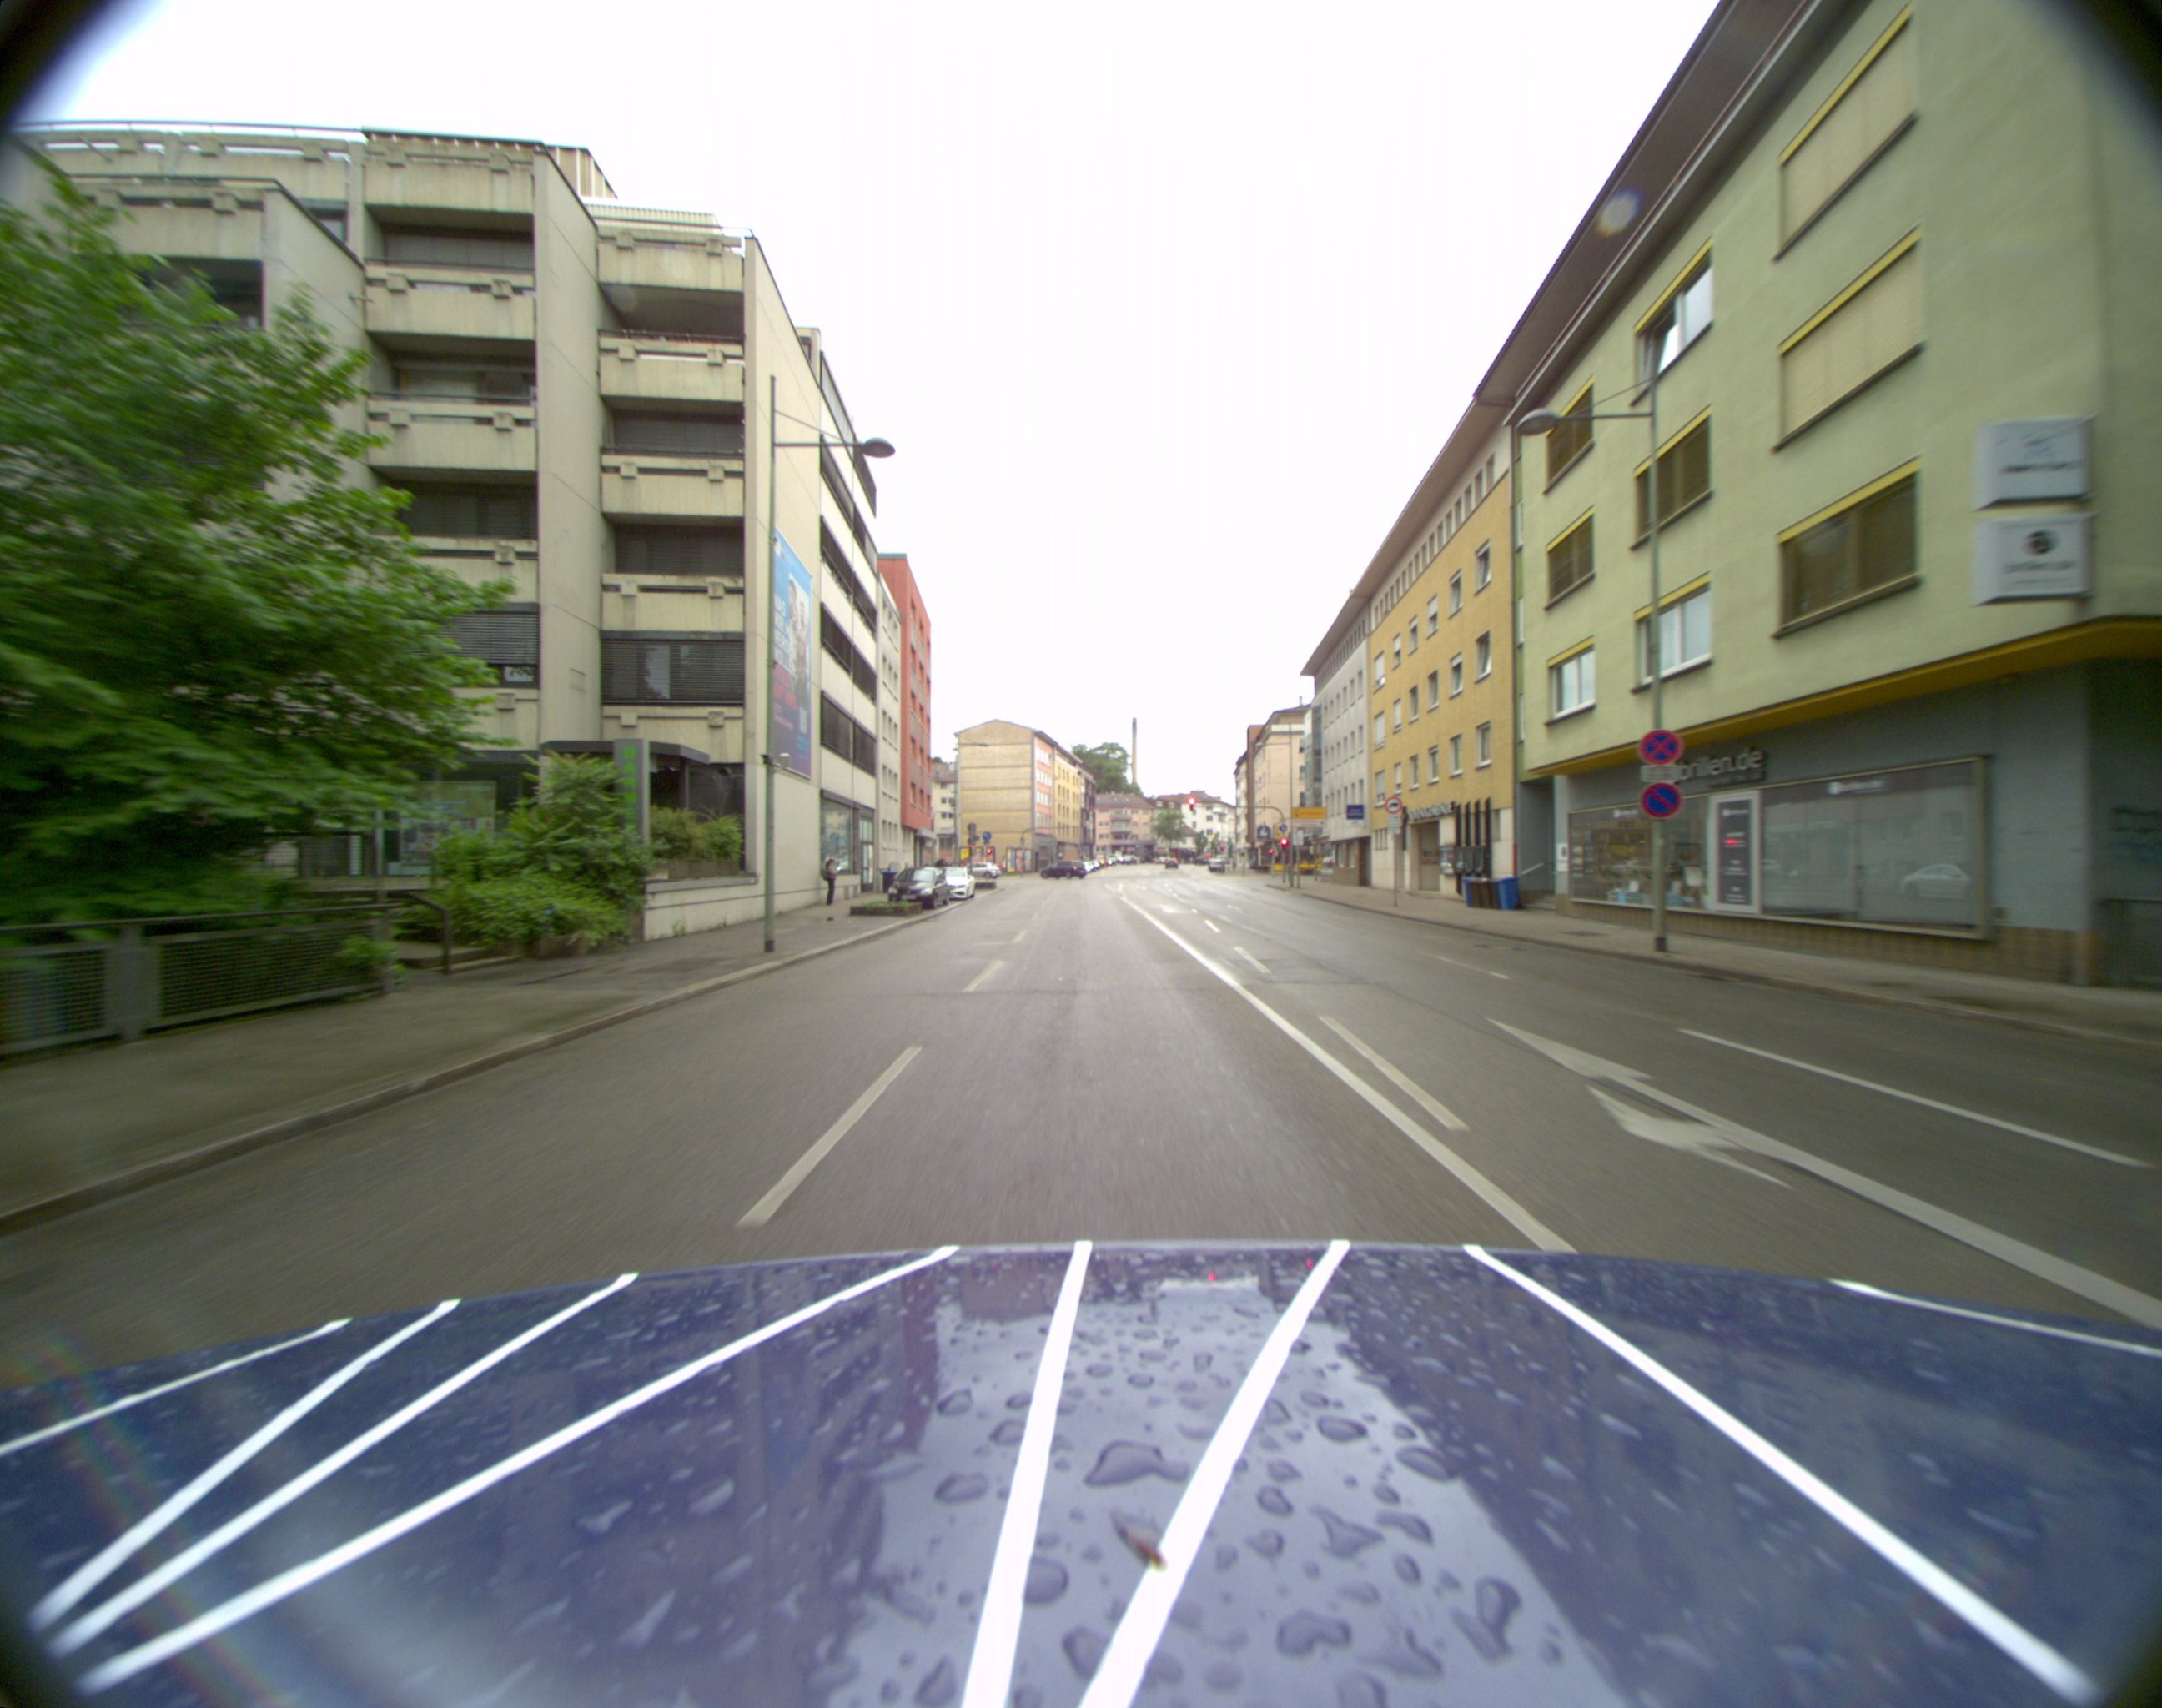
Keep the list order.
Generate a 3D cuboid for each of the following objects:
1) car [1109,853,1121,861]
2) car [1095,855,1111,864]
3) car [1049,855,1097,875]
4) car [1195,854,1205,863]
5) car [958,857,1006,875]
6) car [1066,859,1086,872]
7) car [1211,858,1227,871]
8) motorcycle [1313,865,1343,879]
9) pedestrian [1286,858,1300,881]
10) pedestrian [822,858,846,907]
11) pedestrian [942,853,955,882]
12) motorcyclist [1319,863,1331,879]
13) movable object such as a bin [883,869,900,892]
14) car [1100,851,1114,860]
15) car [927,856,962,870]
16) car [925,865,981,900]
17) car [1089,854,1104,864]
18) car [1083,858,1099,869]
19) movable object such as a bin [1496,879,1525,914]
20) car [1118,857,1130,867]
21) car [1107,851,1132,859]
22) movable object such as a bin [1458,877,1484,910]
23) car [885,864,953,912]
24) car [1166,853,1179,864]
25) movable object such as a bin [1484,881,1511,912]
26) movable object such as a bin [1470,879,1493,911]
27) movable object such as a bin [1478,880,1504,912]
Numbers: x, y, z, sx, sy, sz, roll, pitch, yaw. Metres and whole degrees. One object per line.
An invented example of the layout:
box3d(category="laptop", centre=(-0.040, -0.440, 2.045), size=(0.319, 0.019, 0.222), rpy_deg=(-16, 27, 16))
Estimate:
box3d(category="car", centre=(5.680, 0.462, 127.244), size=(1.736, 1.389, 3.744), rpy_deg=(0, 0, 7))
box3d(category="car", centre=(3.450, 0.824, 117.546), size=(1.736, 1.389, 3.745), rpy_deg=(0, 0, 13))
box3d(category="car", centre=(-0.691, 0.966, 65.904), size=(3.988, 1.674, 1.884), rpy_deg=(-1, 0, 43))
box3d(category="car", centre=(22.230, 0.838, 142.143), size=(1.591, 1.518, 3.492), rpy_deg=(0, 0, 14))
box3d(category="car", centre=(-9.149, 1.082, 70.317), size=(3.991, 1.612, 1.839), rpy_deg=(0, 0, 20))
box3d(category="car", centre=(-0.586, 1.291, 86.977), size=(1.736, 1.389, 3.744), rpy_deg=(0, 0, 8))
box3d(category="car", centre=(17.297, 1.279, 95.249), size=(1.834, 1.612, 4.003), rpy_deg=(0, 0, 10))
box3d(category="motorcycle", centre=(20.183, 1.462, 62.107), size=(2.290, 1.157, 0.775), rpy_deg=(0, 0, 10))
box3d(category="pedestrian", centre=(15.083, 1.091, 54.085), size=(0.785, 1.578, 0.674), rpy_deg=(-3, -1, 21))
box3d(category="pedestrian", centre=(-8.483, 0.981, 26.129), size=(0.599, 1.650, 0.691), rpy_deg=(3, 0, -7))
box3d(category="pedestrian", centre=(-9.933, 1.010, 57.055), size=(0.806, 2.140, 0.737), rpy_deg=(0, 0, -23))
box3d(category="motorcyclist", centre=(19.942, 1.394, 62.145), size=(0.871, 1.320, 0.493), rpy_deg=(0, 0, 8))
box3d(category="movable object such as a bin", centre=(-9.142, 1.274, 36.609), size=(0.681, 1.096, 0.514), rpy_deg=(0, 0, -2))
box3d(category="car", centre=(4.174, 0.290, 122.334), size=(1.736, 1.389, 3.744), rpy_deg=(0, 0, 8))
box3d(category="car", centre=(-17.089, 1.088, 95.134), size=(3.783, 1.701, 1.842), rpy_deg=(0, 0, 19))
box3d(category="car", centre=(-5.693, 1.223, 34.271), size=(1.835, 1.412, 4.570), rpy_deg=(1, 0, -1))
box3d(category="car", centre=(2.268, 0.708, 108.992), size=(1.737, 1.389, 3.743), rpy_deg=(0, 0, 7))
box3d(category="car", centre=(1.325, 1.237, 99.530), size=(1.736, 1.389, 3.744), rpy_deg=(0, 0, 8))
box3d(category="movable object such as a bin", centre=(12.539, 1.234, 22.191), size=(0.529, 0.955, 0.435), rpy_deg=(-4, 0, 7))
box3d(category="car", centre=(7.739, 1.399, 136.551), size=(1.670, 1.761, 4.004), rpy_deg=(0, 0, 11))
box3d(category="car", centre=(7.402, 0.165, 146.236), size=(2.038, 1.521, 4.895), rpy_deg=(0, 0, -40))
box3d(category="movable object such as a bin", centre=(12.555, 1.261, 24.482), size=(0.517, 0.994, 0.524), rpy_deg=(-4, 0, 7))
box3d(category="car", centre=(-5.785, 1.172, 27.564), size=(1.706, 1.549, 3.804), rpy_deg=(1, 0, -1))
box3d(category="car", centre=(13.496, 0.716, 111.806), size=(1.748, 1.586, 4.003), rpy_deg=(0, 0, 7))
box3d(category="movable object such as a bin", centre=(12.441, 1.270, 22.701), size=(0.529, 0.890, 0.435), rpy_deg=(-4, 0, 7))
box3d(category="movable object such as a bin", centre=(12.460, 1.275, 23.646), size=(0.465, 0.922, 0.428), rpy_deg=(-4, 0, 7))
box3d(category="movable object such as a bin", centre=(12.482, 1.264, 23.152), size=(0.529, 0.922, 0.426), rpy_deg=(-4, 0, 7))
